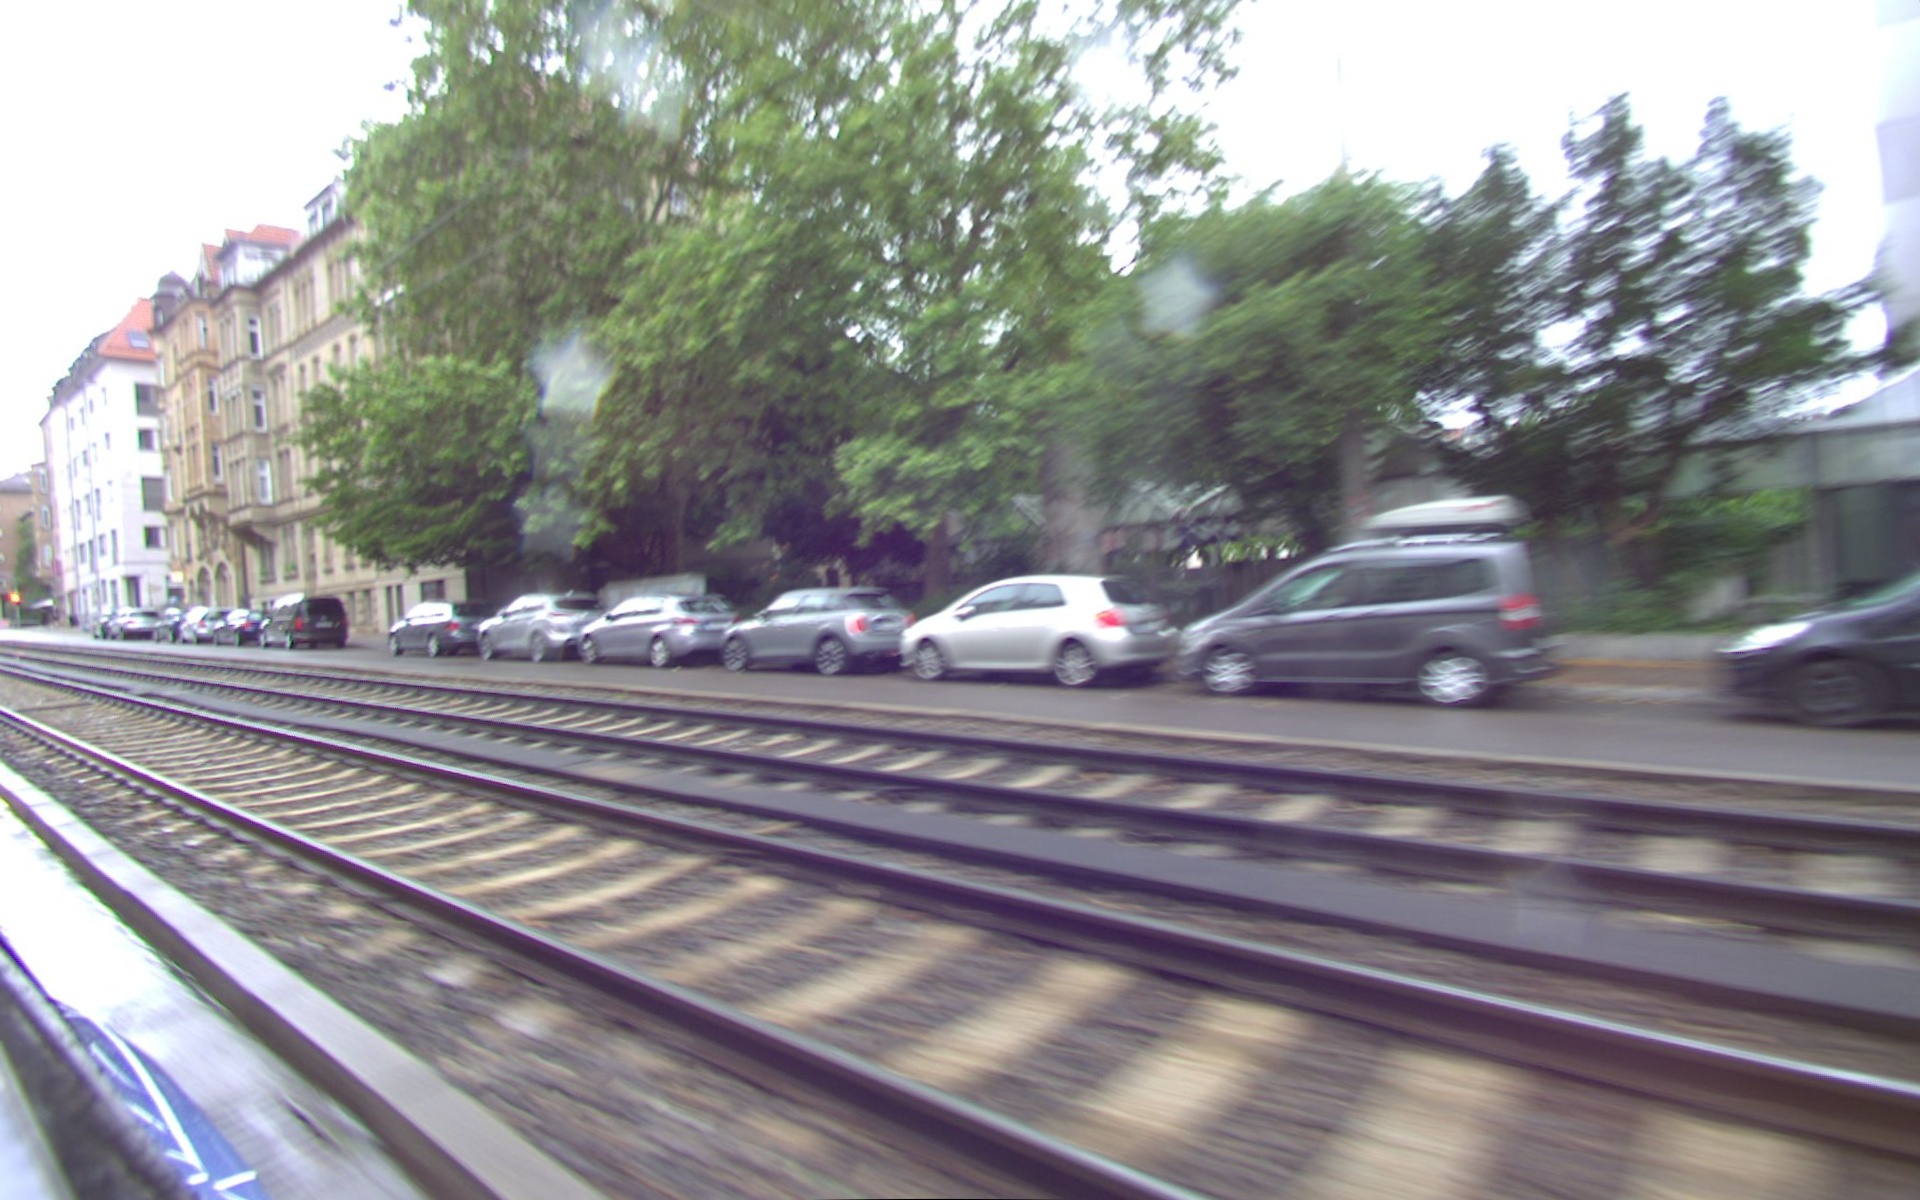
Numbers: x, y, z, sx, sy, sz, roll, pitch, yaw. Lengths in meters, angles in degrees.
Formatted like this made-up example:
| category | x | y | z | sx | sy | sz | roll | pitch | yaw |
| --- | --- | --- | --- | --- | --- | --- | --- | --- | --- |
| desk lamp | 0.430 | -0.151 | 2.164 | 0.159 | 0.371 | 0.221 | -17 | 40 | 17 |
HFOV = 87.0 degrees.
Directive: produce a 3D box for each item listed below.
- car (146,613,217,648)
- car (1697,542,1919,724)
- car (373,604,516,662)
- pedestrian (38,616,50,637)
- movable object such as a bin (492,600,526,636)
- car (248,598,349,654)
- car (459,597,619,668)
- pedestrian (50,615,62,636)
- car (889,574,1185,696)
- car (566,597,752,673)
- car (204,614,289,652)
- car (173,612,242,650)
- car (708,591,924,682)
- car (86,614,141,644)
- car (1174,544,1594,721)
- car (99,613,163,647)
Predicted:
| category | x | y | z | sx | sy | sz | roll | pitch | yaw |
| --- | --- | --- | --- | --- | --- | --- | --- | --- | --- |
| car | -36.716 | 1.408 | 47.722 | 4.167 | 1.519 | 1.851 | -1 | 0 | 41 |
| car | 8.495 | 0.254 | 8.121 | 4.009 | 1.424 | 1.657 | -1 | -1 | 42 |
| car | -14.197 | 0.881 | 27.768 | 4.546 | 1.475 | 1.831 | -1 | -1 | 39 |
| pedestrian | -79.346 | 2.285 | 87.668 | 0.746 | 1.731 | 0.595 | -1 | 3 | 44 |
| movable object such as a bin | -14.584 | 0.575 | 32.712 | 0.773 | 1.128 | 0.709 | -1 | 1 | 43 |
| car | -23.563 | 0.926 | 35.983 | 4.815 | 1.860 | 1.782 | -1 | -1 | 41 |
| car | -10.127 | 0.762 | 24.187 | 4.541 | 1.548 | 1.736 | -1 | -1 | 41 |
| pedestrian | -78.800 | 2.215 | 88.244 | 0.658 | 1.731 | 0.595 | -1 | 3 | 44 |
| car | 0.999 | 0.478 | 14.556 | 4.151 | 1.517 | 1.523 | -1 | -1 | 40 |
| car | -6.308 | 0.704 | 20.991 | 4.150 | 1.424 | 1.736 | -1 | -1 | 40 |
| car | -28.470 | 1.308 | 40.364 | 4.266 | 1.408 | 1.745 | -1 | -1 | 40 |
| car | -32.850 | 1.333 | 44.150 | 3.853 | 1.535 | 1.677 | -1 | -1 | 42 |
| car | -2.601 | 0.609 | 17.732 | 3.950 | 1.424 | 1.523 | -1 | -1 | 40 |
| car | -47.982 | 1.632 | 57.319 | 4.429 | 1.614 | 1.838 | -1 | 0 | 43 |
| car | 4.608 | 0.343 | 11.358 | 4.068 | 1.655 | 1.560 | -1 | -1 | 40 |
| car | -44.316 | 1.602 | 54.064 | 4.311 | 1.665 | 1.840 | -1 | 1 | 40 |
